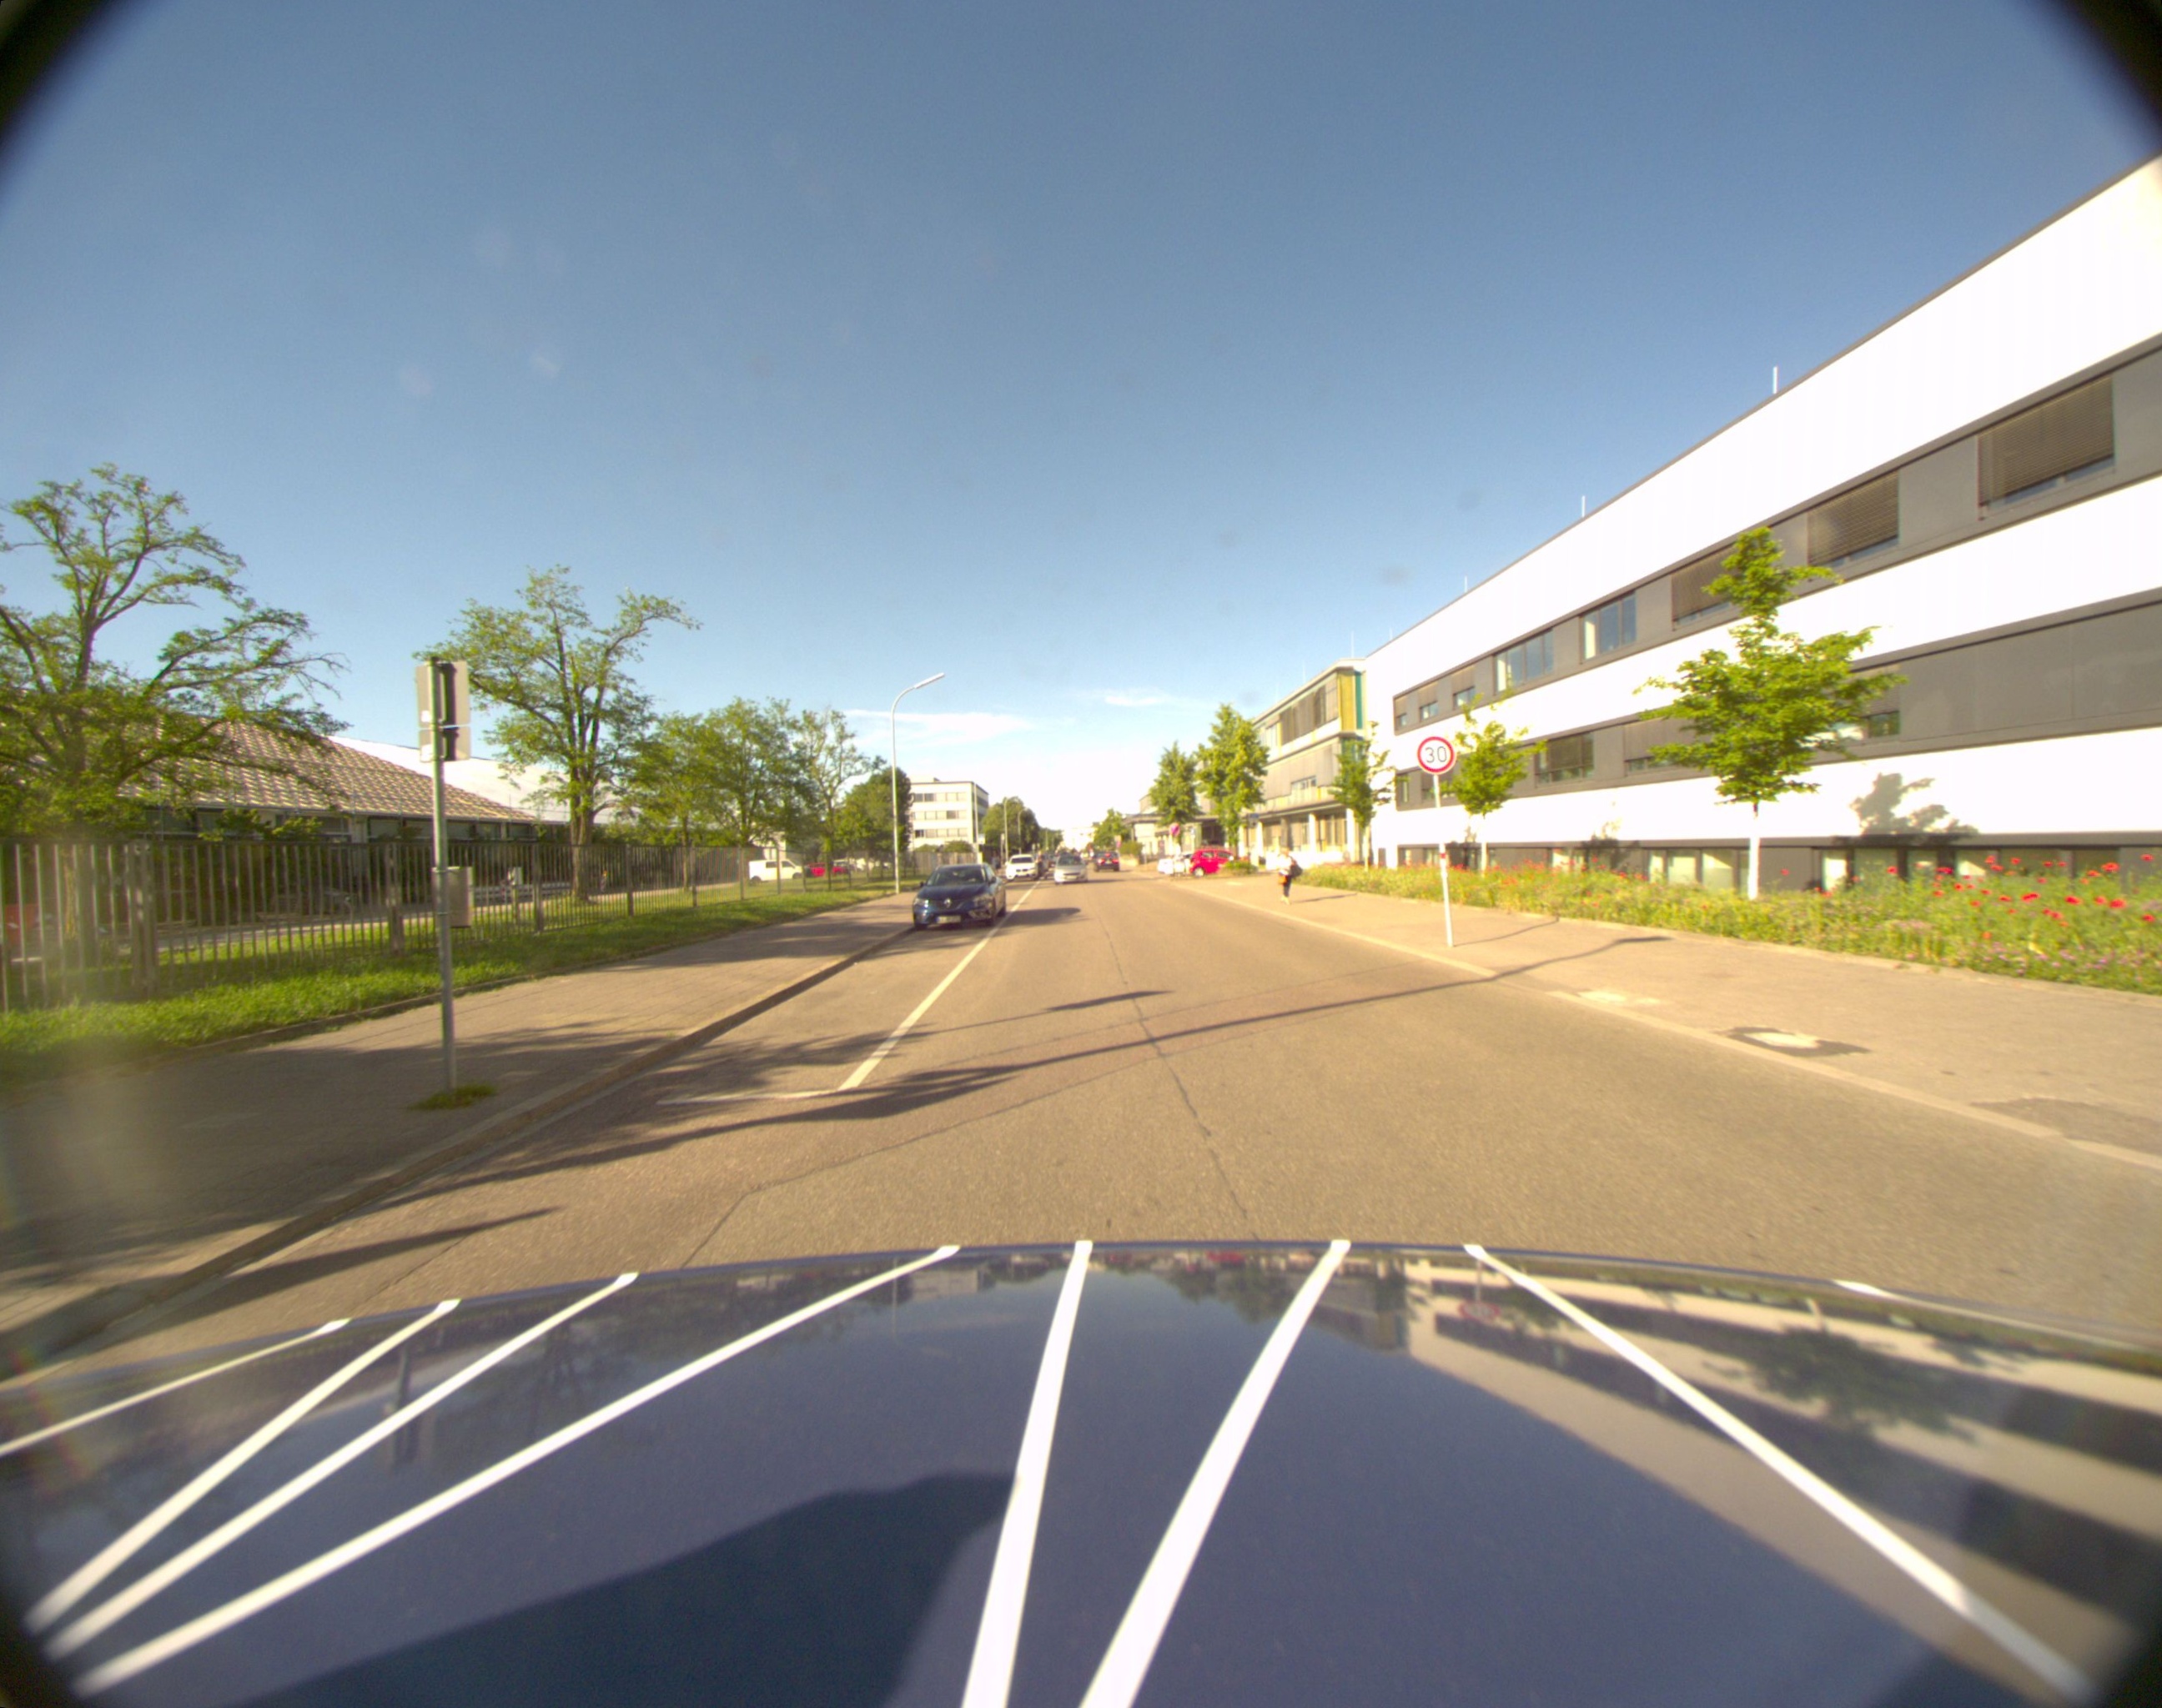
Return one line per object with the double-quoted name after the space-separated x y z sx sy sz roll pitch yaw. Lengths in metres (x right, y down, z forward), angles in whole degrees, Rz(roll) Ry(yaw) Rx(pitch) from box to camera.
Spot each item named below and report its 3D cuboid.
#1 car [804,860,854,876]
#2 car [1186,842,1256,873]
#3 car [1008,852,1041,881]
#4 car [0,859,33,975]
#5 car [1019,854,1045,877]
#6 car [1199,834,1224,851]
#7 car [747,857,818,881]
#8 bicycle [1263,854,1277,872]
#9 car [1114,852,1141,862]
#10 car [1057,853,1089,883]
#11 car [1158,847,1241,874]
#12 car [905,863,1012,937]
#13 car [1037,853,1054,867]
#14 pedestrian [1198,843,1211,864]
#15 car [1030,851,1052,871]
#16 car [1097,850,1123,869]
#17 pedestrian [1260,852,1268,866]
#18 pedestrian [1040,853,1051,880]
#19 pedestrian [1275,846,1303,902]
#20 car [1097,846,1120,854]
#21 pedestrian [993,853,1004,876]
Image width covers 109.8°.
-24.176 1.305 72.999 4.154 1.245 1.828 -4 1 -3 "car"
7.658 0.183 41.806 3.642 1.460 1.614 -3 0 6 "car"
-3.415 0.728 46.649 1.818 1.579 4.261 -4 0 -3 "car"
-23.122 1.278 13.993 5.295 2.189 2.001 -2 0 5 "car"
-3.479 0.802 54.384 1.705 1.479 3.979 -4 0 -4 "car"
15.164 -1.263 88.377 1.924 1.880 4.710 -2 0 -1 "car"
-24.708 1.210 63.079 4.980 1.635 2.095 -4 1 -3 "car"
12.517 0.593 50.389 0.536 1.105 1.861 -2 0 2 "bicycle"
7.425 0.536 122.720 4.142 1.458 1.753 -3 1 -2 "car"
-0.410 0.702 39.449 1.551 1.389 3.453 -3 1 0 "car"
6.830 0.374 43.985 4.522 1.359 1.700 -2 1 2 "car"
-2.822 1.004 18.426 1.822 1.444 4.213 -3 0 0 "car"
-3.997 0.659 85.788 1.814 1.501 4.721 -4 0 -2 "car"
9.522 -0.066 58.729 0.775 1.540 0.780 -4 2 -1 "pedestrian"
-3.651 0.622 69.415 1.814 1.712 4.703 -4 0 -2 "car"
2.274 0.400 60.826 1.766 1.433 4.536 -2 0 -2 "car"
15.349 0.433 63.787 0.533 1.166 0.556 -2 1 0 "pedestrian"
-2.323 0.788 49.229 0.521 1.699 0.523 -4 2 8 "pedestrian"
5.724 0.547 20.948 0.539 1.515 0.607 -2 1 0 "pedestrian"
5.273 -0.775 145.337 4.102 1.414 1.823 -2 1 -3 "car"
-5.760 0.721 53.021 0.540 1.602 0.683 -4 2 0 "pedestrian"
